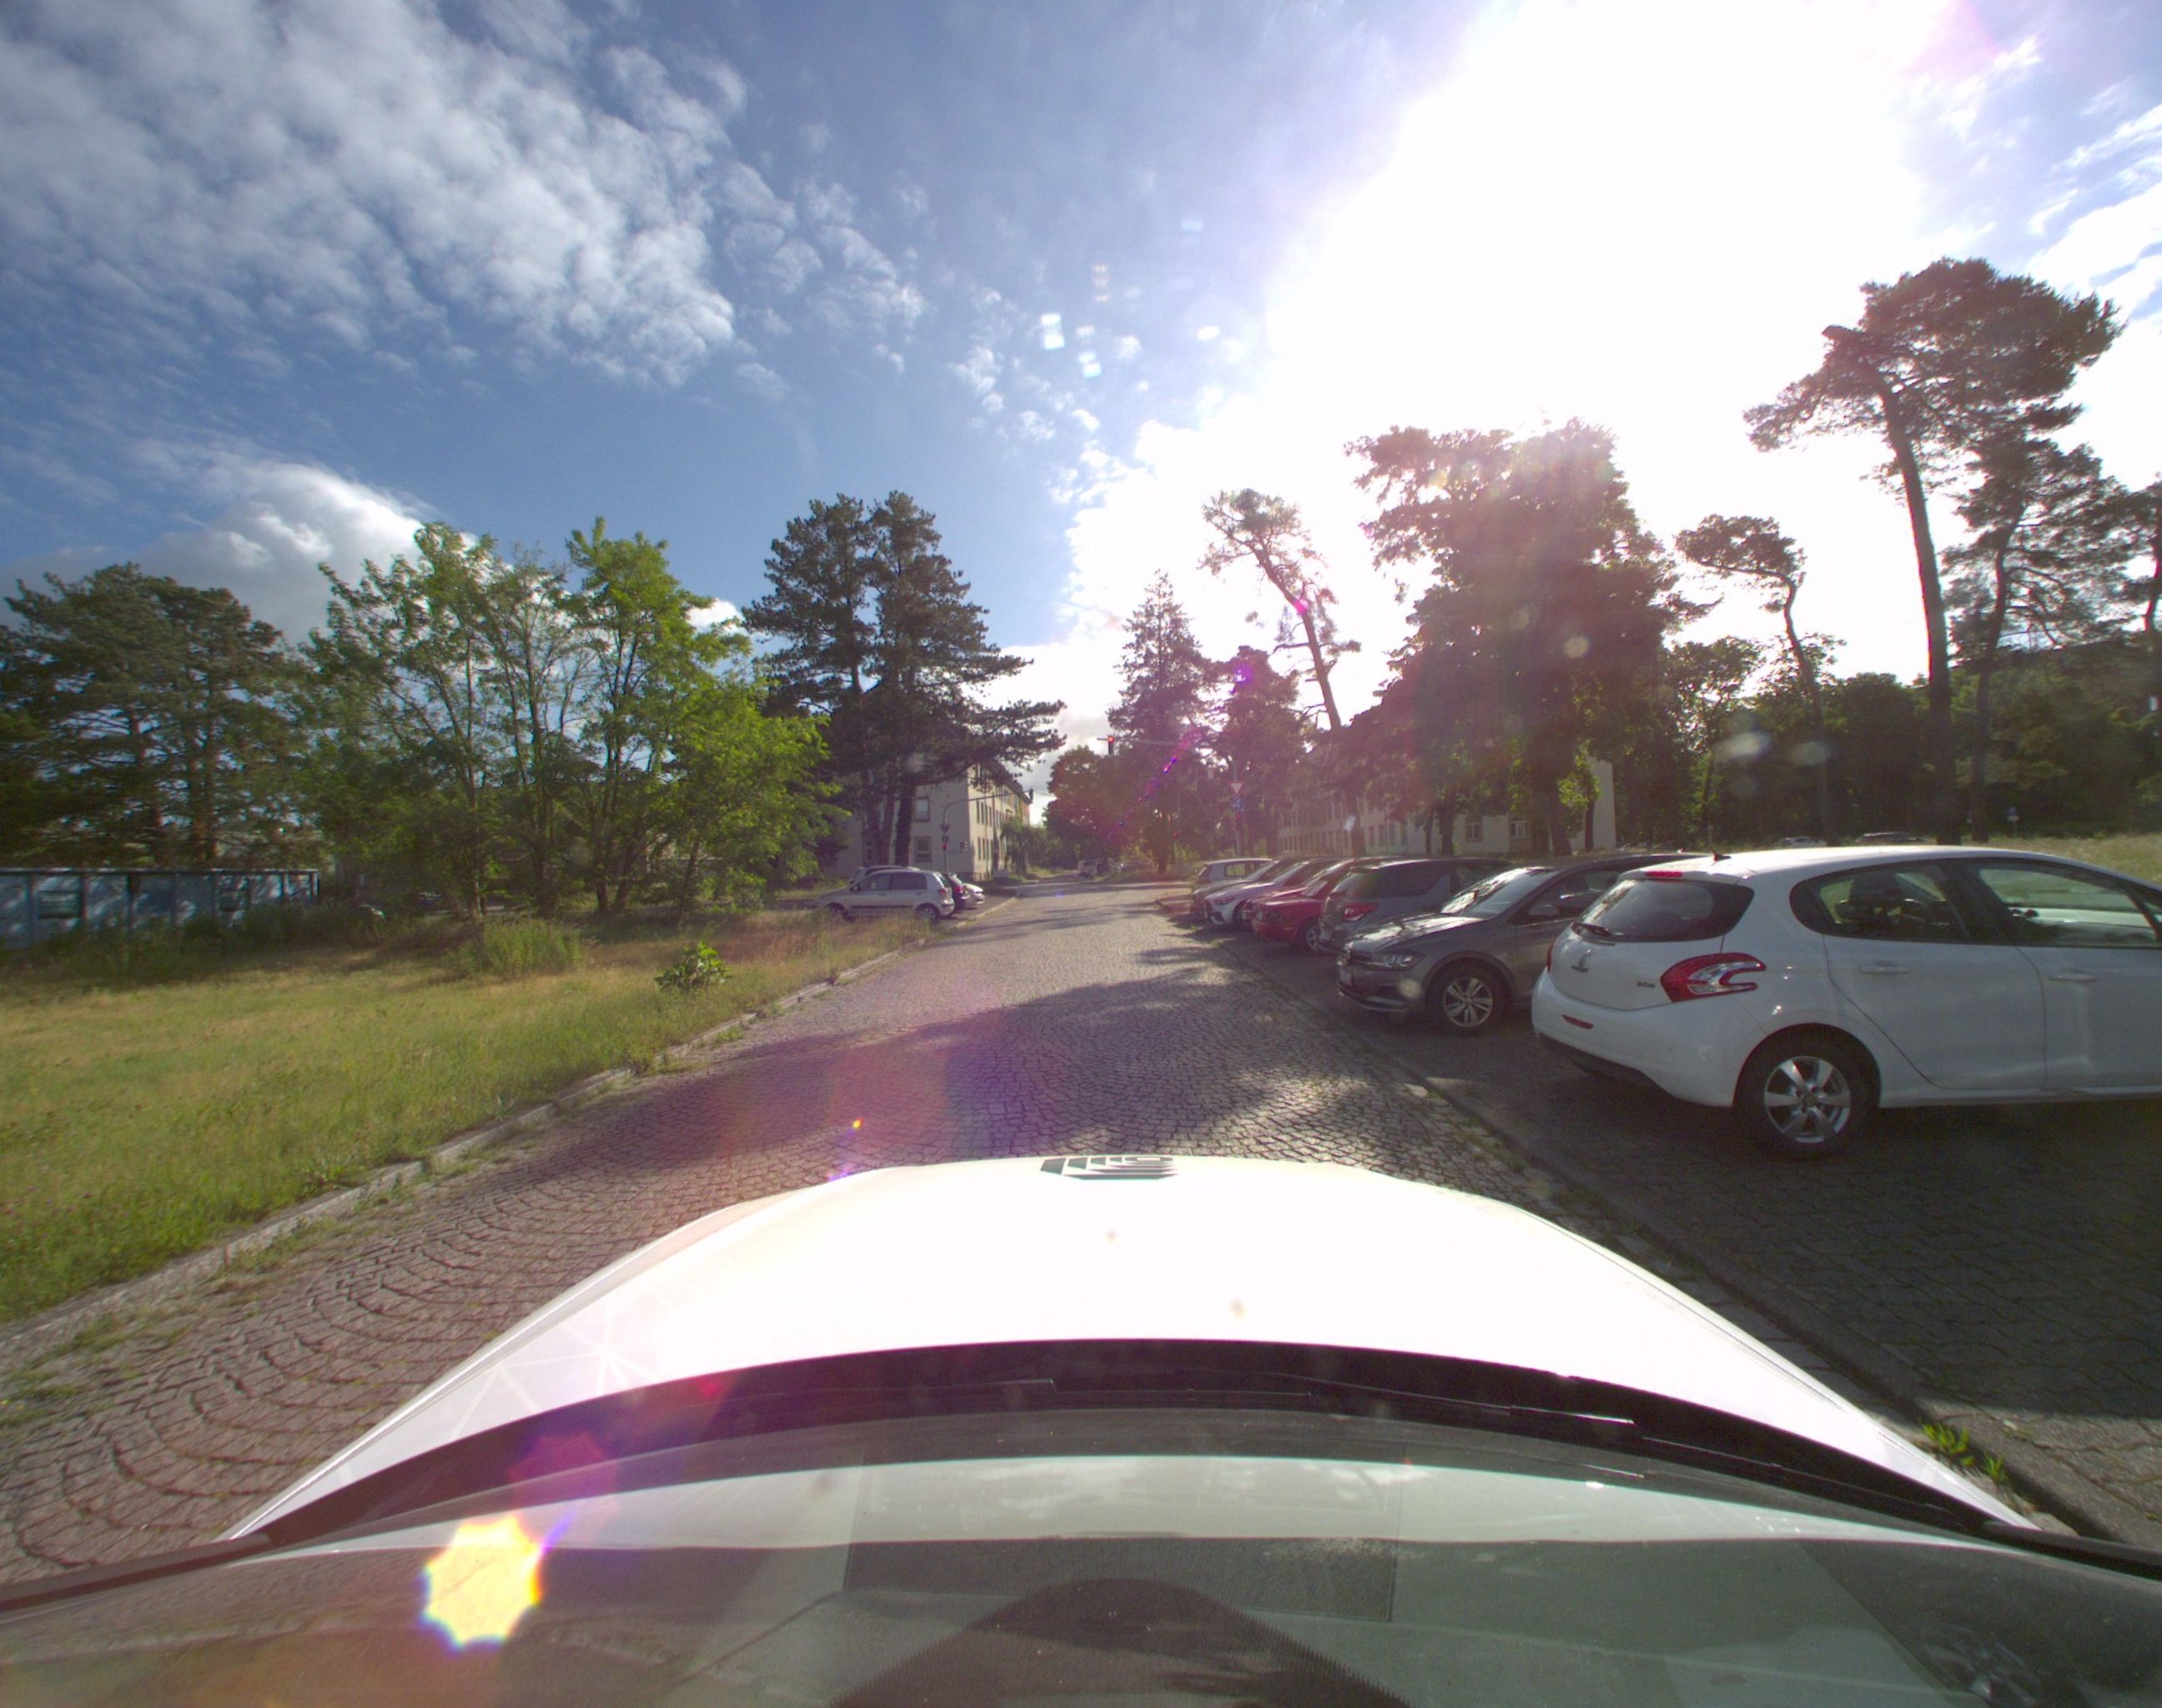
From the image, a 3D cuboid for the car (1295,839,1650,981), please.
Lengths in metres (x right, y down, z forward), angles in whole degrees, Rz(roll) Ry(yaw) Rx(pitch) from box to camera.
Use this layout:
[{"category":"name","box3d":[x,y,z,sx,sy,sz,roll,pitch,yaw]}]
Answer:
[{"category":"car","box3d":[4.903,0.671,10.614,3.695,1.449,1.816,-4,0,0]}]

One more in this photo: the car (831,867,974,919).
[{"category":"car","box3d":[-5.365,1.168,24.826,3.977,1.480,1.801,0,0,-3]}]

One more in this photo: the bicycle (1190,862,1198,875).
[{"category":"bicycle","box3d":[8.314,1.072,59.949,0.300,0.961,1.584,0,-1,-3]}]

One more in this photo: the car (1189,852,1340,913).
[{"category":"car","box3d":[5.144,0.789,23.192,3.868,1.415,1.637,-4,0,1]}]

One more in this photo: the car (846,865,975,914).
[{"category":"car","box3d":[-5.753,1.174,27.891,4.070,1.593,1.884,0,0,-3]}]

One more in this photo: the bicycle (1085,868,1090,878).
[{"category":"bicycle","box3d":[0.653,1.898,81.735,0.416,1.010,1.483,0,-1,2]}]

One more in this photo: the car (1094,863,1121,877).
[{"category":"car","box3d":[2.831,1.687,86.548,2.776,1.467,1.669,0,-1,-4]}]

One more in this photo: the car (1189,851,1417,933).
[{"category":"car","box3d":[4.702,0.785,17.699,4.416,1.415,1.781,-4,0,1]}]

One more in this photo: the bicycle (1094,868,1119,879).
[{"category":"bicycle","box3d":[2.270,1.720,72.157,2.107,1.010,0.619,0,-2,-7]}]

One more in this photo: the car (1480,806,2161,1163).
[{"category":"car","box3d":[4.654,0.601,4.778,3.694,1.534,1.761,-4,0,1]}]

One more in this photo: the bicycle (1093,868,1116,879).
[{"category":"bicycle","box3d":[2.140,1.756,73.786,2.002,1.010,0.630,0,-2,-7]}]

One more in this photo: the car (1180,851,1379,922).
[{"category":"car","box3d":[4.867,0.796,20.414,4.543,1.415,1.637,-4,0,1]}]

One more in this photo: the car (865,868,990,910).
[{"category":"car","box3d":[-5.624,1.280,30.306,4.323,1.468,1.829,0,0,-3]}]

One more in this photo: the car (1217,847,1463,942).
[{"category":"car","box3d":[4.810,0.743,15.515,4.113,1.449,1.637,-4,0,1]}]

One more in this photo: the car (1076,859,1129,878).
[{"category":"car","box3d":[2.372,1.616,90.152,5.535,2.014,1.988,0,-1,-18]}]

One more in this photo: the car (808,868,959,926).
[{"category":"car","box3d":[-5.326,1.151,22.318,3.737,1.487,1.644,0,0,-3]}]

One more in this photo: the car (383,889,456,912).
[{"category":"car","box3d":[-47.528,3.329,58.617,1.895,1.433,4.001,-2,-1,1]}]

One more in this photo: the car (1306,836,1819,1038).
[{"category":"car","box3d":[4.252,0.695,7.702,3.694,1.449,1.856,-4,0,1]}]

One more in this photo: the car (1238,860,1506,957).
[{"category":"car","box3d":[4.575,0.827,13.216,3.694,1.223,1.747,-4,0,1]}]

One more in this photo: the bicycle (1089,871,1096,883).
[{"category":"bicycle","box3d":[0.984,1.893,68.380,0.466,1.010,1.584,0,-1,-3]}]

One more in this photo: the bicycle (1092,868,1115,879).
[{"category":"bicycle","box3d":[2.080,1.776,74.668,2.026,1.010,0.626,0,-2,-7]}]
